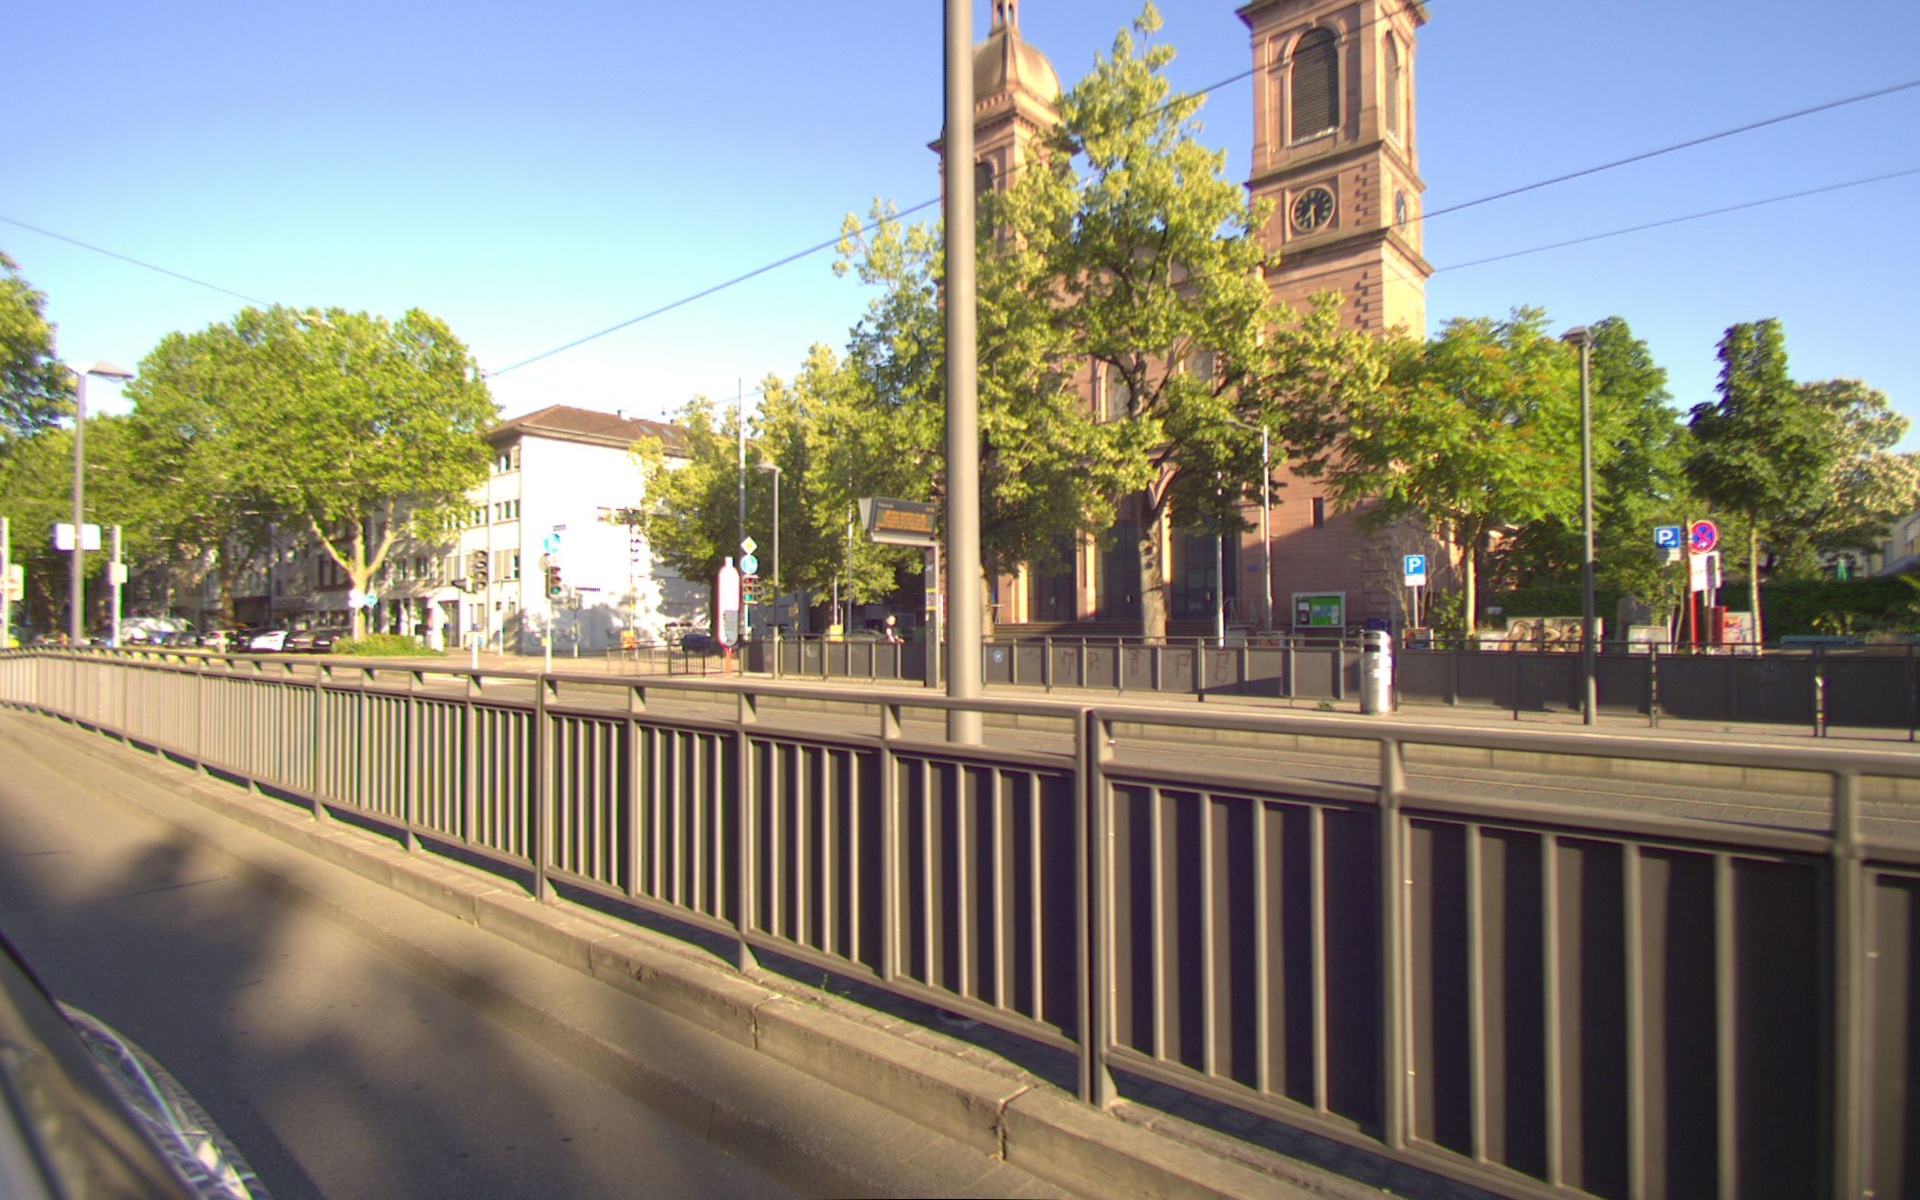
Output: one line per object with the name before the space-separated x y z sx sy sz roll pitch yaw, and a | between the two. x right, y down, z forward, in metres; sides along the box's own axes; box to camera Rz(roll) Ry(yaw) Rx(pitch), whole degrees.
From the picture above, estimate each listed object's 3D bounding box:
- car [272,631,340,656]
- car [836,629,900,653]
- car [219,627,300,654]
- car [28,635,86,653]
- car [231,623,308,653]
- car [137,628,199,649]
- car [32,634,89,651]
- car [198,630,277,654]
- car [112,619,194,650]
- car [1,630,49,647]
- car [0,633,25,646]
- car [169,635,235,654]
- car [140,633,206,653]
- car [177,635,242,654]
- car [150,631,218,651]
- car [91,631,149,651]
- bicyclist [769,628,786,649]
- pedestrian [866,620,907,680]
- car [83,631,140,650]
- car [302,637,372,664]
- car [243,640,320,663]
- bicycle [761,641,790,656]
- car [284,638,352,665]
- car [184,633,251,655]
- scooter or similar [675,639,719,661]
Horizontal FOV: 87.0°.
car | -41.248 2.725 63.916 1.805 1.516 3.972 -1 -2 -2
car | -5.827 2.609 63.982 3.998 1.409 1.792 -3 -3 42
car | -46.268 2.635 66.961 2.127 1.697 4.249 -1 -2 6
car | -92.322 4.516 103.511 1.981 1.719 3.982 -1 -2 14
car | -47.836 2.614 70.179 1.508 1.958 4.221 -1 -2 25
car | -70.203 3.386 89.792 1.981 1.830 3.982 0 -2 14
car | -94.551 4.455 106.359 1.997 1.719 4.183 -2 -2 37
car | -50.022 2.868 70.123 1.634 1.569 4.221 -1 -2 25
car | -72.663 3.081 91.262 2.161 2.721 5.582 -1 -2 16
car | -127.532 5.255 138.124 2.072 2.230 4.943 -1 -2 -1
car | -145.100 6.029 154.012 3.936 1.826 1.876 1 -2 -40
car | -60.108 3.513 80.334 1.883 1.469 4.251 0 -2 5
car | -65.897 3.596 84.826 1.981 1.630 3.982 -1 -2 14
car | -57.792 3.408 78.004 1.582 1.470 4.251 0 -2 5
car | -63.491 3.316 82.835 1.985 1.530 3.972 -1 -2 20
car | -82.053 3.967 98.950 1.981 1.829 3.982 -1 -2 14
bicyclist | -12.147 2.564 67.431 0.632 1.341 0.956 -2 -2 41
pedestrian | -2.274 1.516 31.203 0.832 1.773 0.909 -1 0 43
car | -84.631 4.053 100.965 1.981 1.829 3.982 -1 -2 14
car | -36.441 2.937 59.323 1.747 1.442 3.972 -1 -1 -2
car | -43.567 3.276 65.111 2.123 1.388 4.256 0 -2 0
bicycle | -12.247 3.219 67.300 0.632 0.988 1.962 -2 -2 41
car | -39.077 3.114 61.689 1.717 1.443 3.972 -2 -1 -2
car | -55.471 3.270 75.716 1.881 1.626 4.257 0 -2 0
scooter or similar | -14.204 2.677 54.624 2.447 1.135 1.082 -2 -3 42
